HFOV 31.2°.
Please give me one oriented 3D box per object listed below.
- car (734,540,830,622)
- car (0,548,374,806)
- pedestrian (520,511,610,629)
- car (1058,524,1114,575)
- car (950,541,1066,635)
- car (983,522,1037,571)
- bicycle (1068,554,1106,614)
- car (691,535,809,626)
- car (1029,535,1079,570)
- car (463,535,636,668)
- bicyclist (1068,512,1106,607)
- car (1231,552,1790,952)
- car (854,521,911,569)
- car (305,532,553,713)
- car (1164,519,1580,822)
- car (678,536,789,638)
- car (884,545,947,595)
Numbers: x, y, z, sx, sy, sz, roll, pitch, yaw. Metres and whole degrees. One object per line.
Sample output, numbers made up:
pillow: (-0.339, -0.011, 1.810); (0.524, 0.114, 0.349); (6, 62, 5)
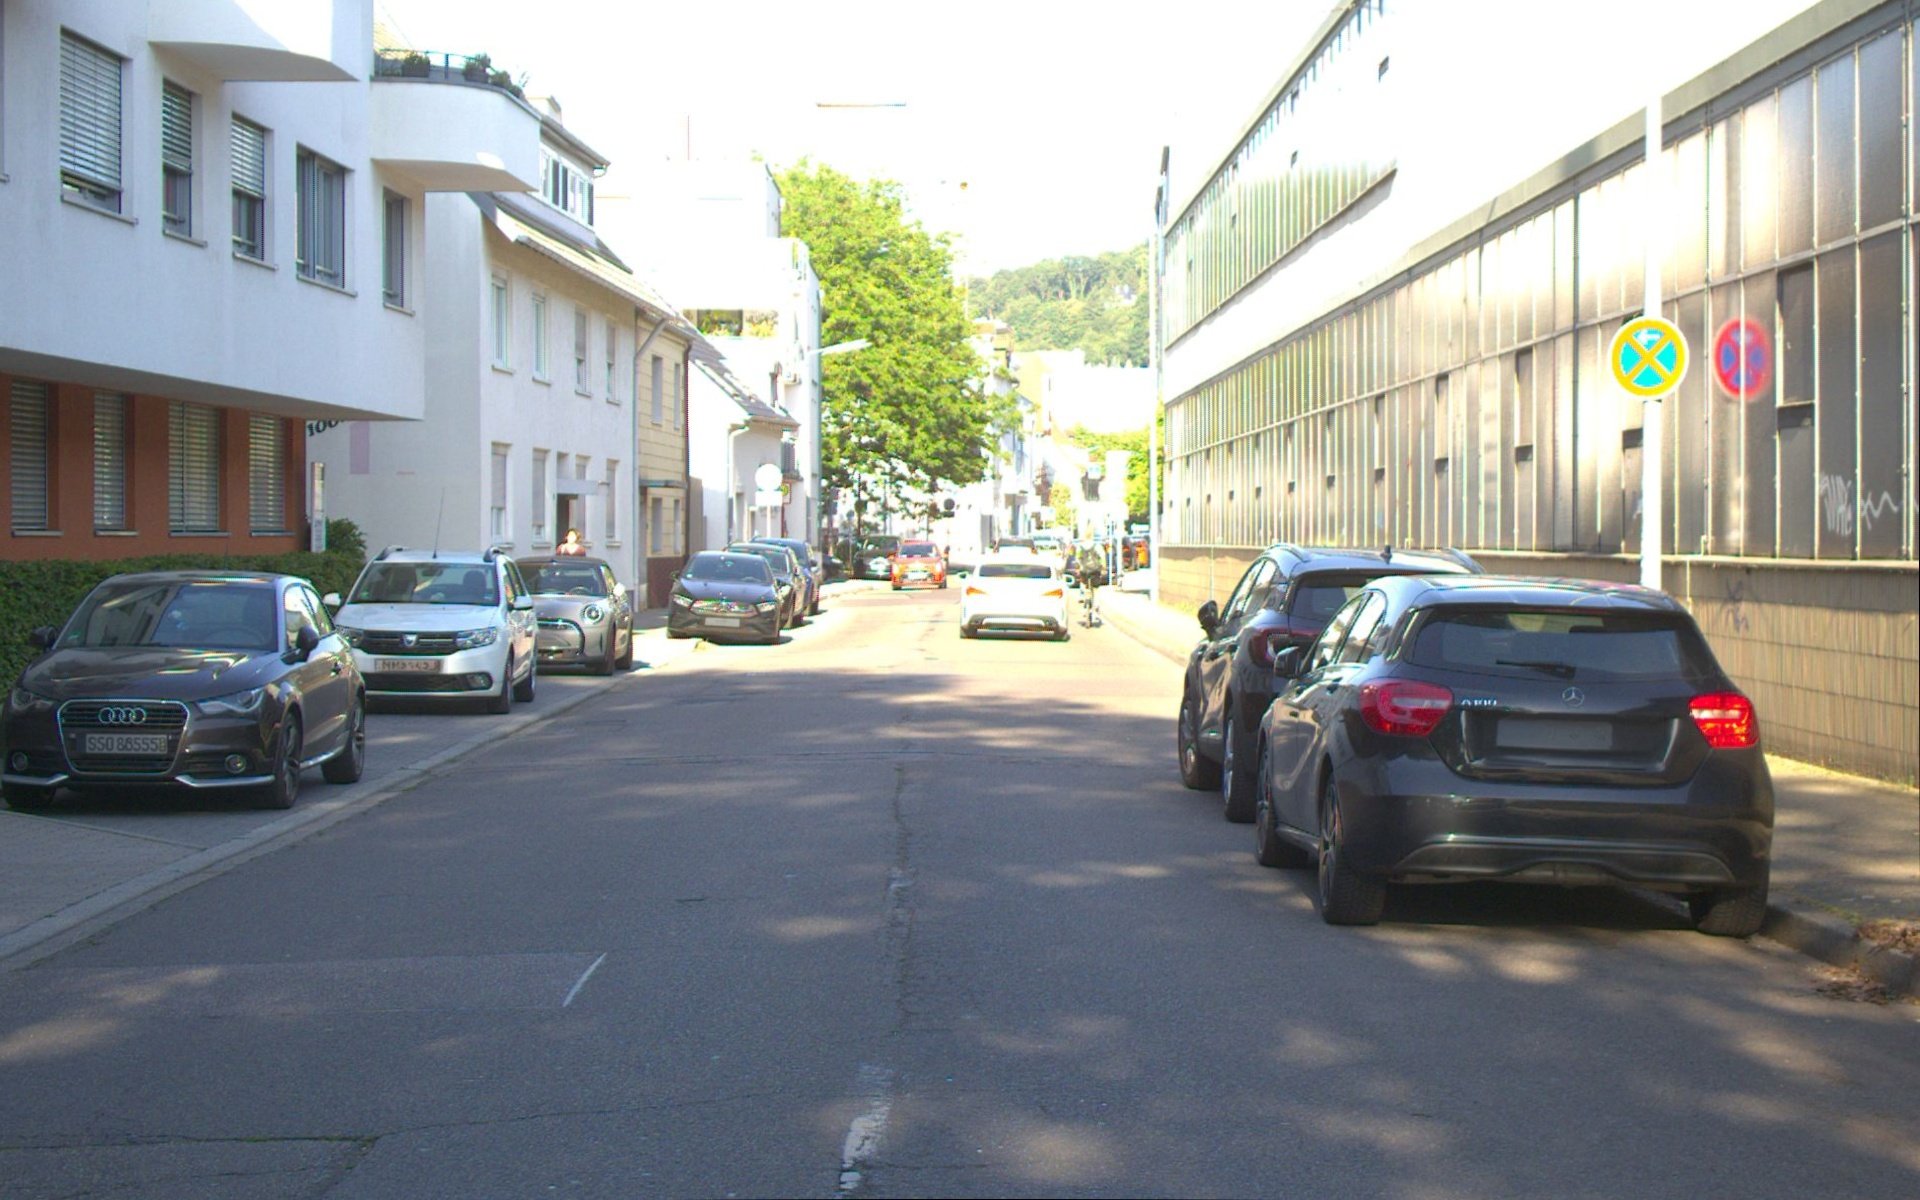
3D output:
car: (-3.855, -0.435, 75.000); (1.809, 1.581, 4.193); (2, 2, 0)
car: (-4.832, 0.419, 21.594); (1.674, 1.428, 3.771); (2, 1, -1)
pedestrian: (-6.266, -0.475, 54.576); (0.862, 1.812, 1.130); (4, 2, 24)
car: (4.111, -1.642, 112.338); (1.629, 1.581, 4.069); (-3, 1, 0)
car: (0.764, -0.224, 57.448); (1.842, 1.486, 4.144); (1, 1, 0)
car: (1.866, -2.029, 129.249); (1.853, 1.785, 4.608); (1, 1, -1)
bicycle: (2.433, -0.309, 65.879); (0.698, 1.126, 2.403); (1, 1, 2)
car: (-4.008, -0.399, 66.259); (1.858, 1.581, 4.336); (2, 2, 1)
car: (4.114, -2.046, 149.868); (1.842, 1.486, 4.143); (1, 1, 6)
car: (-5.066, -0.006, 42.819); (1.667, 1.530, 3.857); (2, 1, 0)
bicyclist: (2.433, -0.773, 65.775); (0.698, 1.784, 1.040); (1, 0, 2)
car: (2.305, 0.560, 15.586); (1.750, 1.486, 4.621); (2, 1, 0)
car: (-2.898, -2.086, 129.603); (1.853, 1.785, 4.607); (1, 1, 2)
car: (-5.091, 0.176, 33.485); (1.857, 1.581, 4.622); (2, 1, -3)
car: (2.354, 0.354, 20.761); (1.807, 1.581, 4.405); (2, 1, -2)
car: (-3.657, -0.231, 55.846); (1.684, 1.530, 4.335); (2, 1, -3)
car: (-1.351, -0.942, 105.843); (1.842, 1.486, 4.144); (1, 1, 0)
